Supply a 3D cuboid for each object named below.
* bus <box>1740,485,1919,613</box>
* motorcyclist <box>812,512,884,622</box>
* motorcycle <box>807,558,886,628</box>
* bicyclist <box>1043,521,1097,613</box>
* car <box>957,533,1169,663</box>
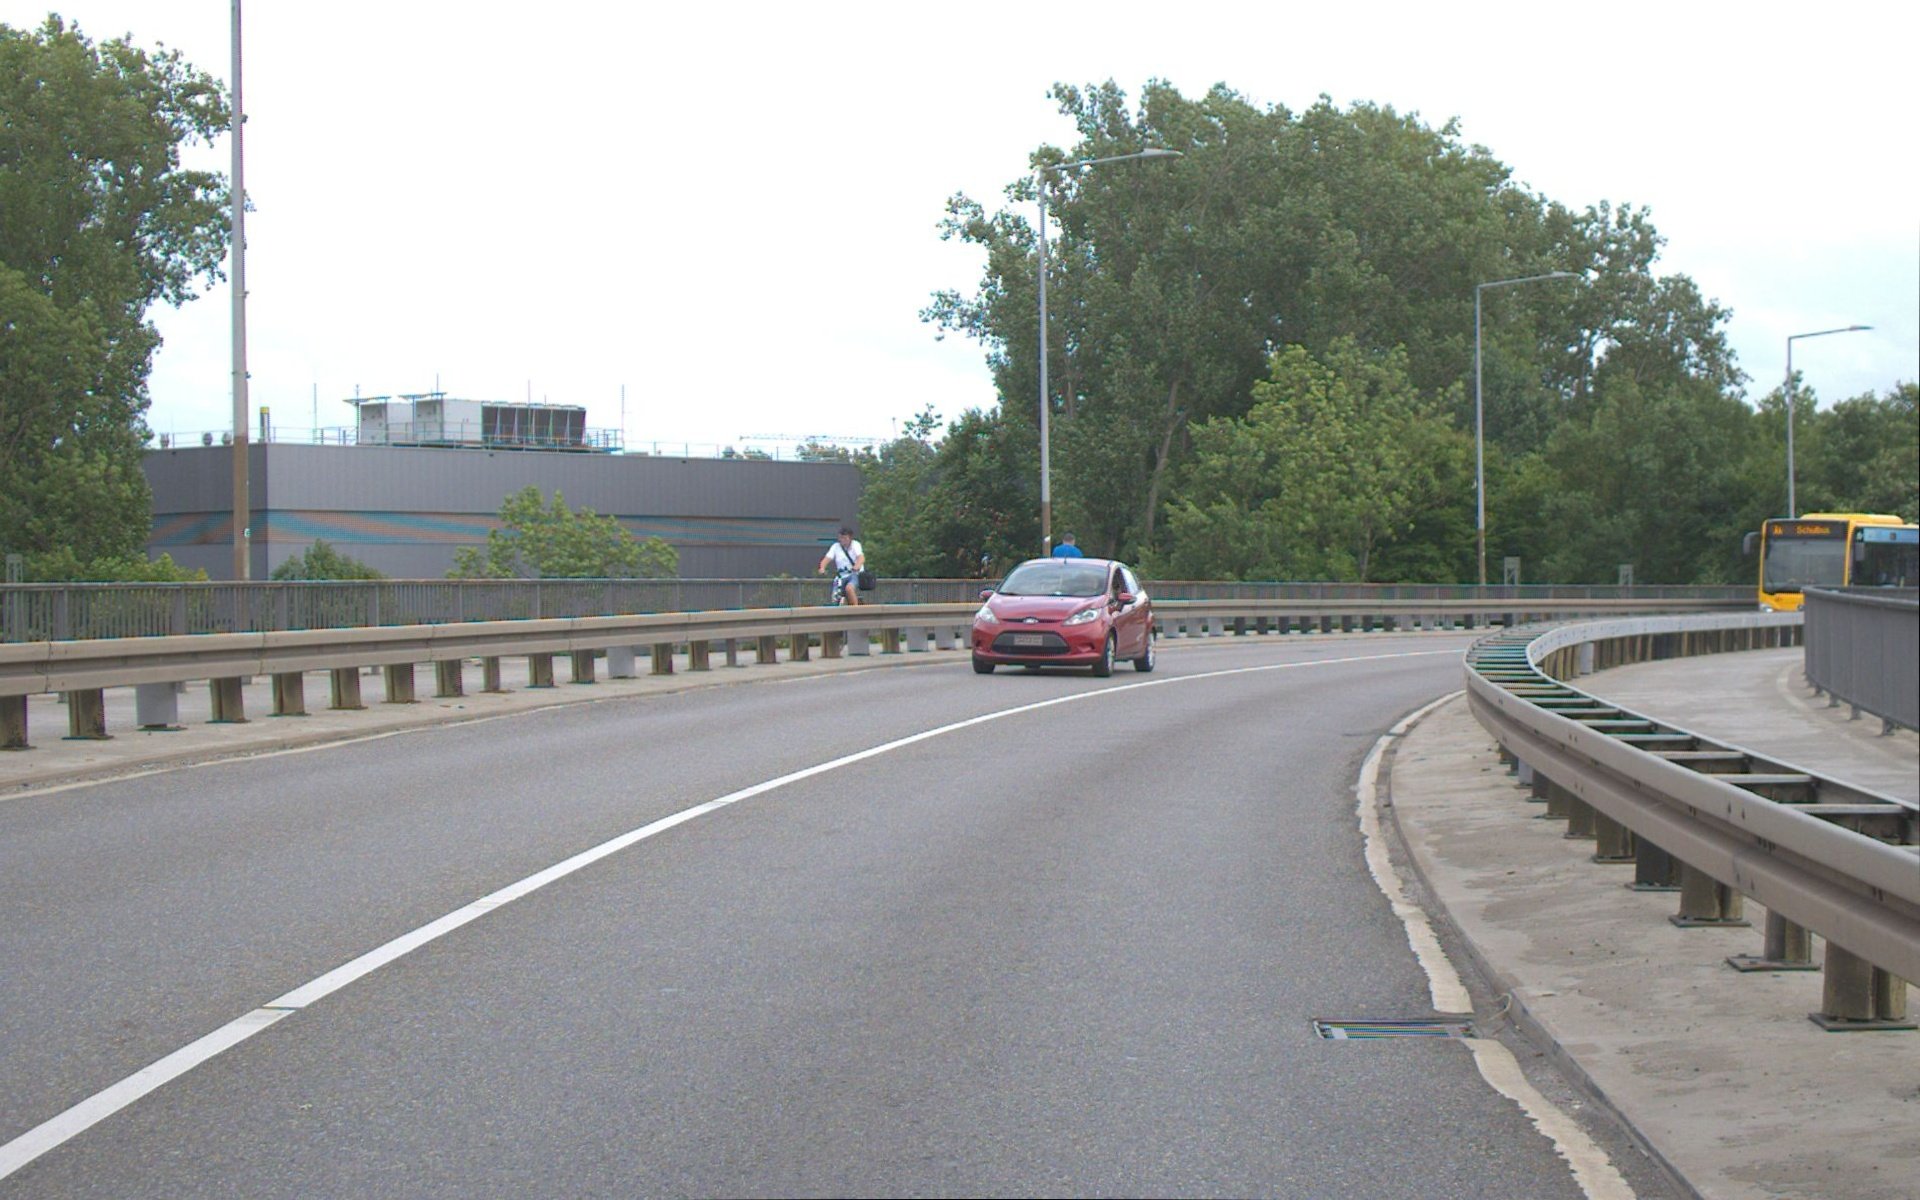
[{"bbox_3d":[25.088,-1.295,93.111,3.038,3.222,12.924,1,0,35],"label":"bus"},{"bbox_3d":[-1.570,-0.464,48.404,0.810,1.524,0.824,1,0,12],"label":"motorcyclist"},{"bbox_3d":[-1.586,-0.097,48.358,0.626,0.960,1.839,1,0,13],"label":"motorcycle"},{"bbox_3d":[1.852,-0.549,57.742,0.611,1.535,0.756,1,0,28],"label":"bicyclist"},{"bbox_3d":[1.317,-0.033,42.299,1.760,1.487,3.997,1,0,14],"label":"car"}]
